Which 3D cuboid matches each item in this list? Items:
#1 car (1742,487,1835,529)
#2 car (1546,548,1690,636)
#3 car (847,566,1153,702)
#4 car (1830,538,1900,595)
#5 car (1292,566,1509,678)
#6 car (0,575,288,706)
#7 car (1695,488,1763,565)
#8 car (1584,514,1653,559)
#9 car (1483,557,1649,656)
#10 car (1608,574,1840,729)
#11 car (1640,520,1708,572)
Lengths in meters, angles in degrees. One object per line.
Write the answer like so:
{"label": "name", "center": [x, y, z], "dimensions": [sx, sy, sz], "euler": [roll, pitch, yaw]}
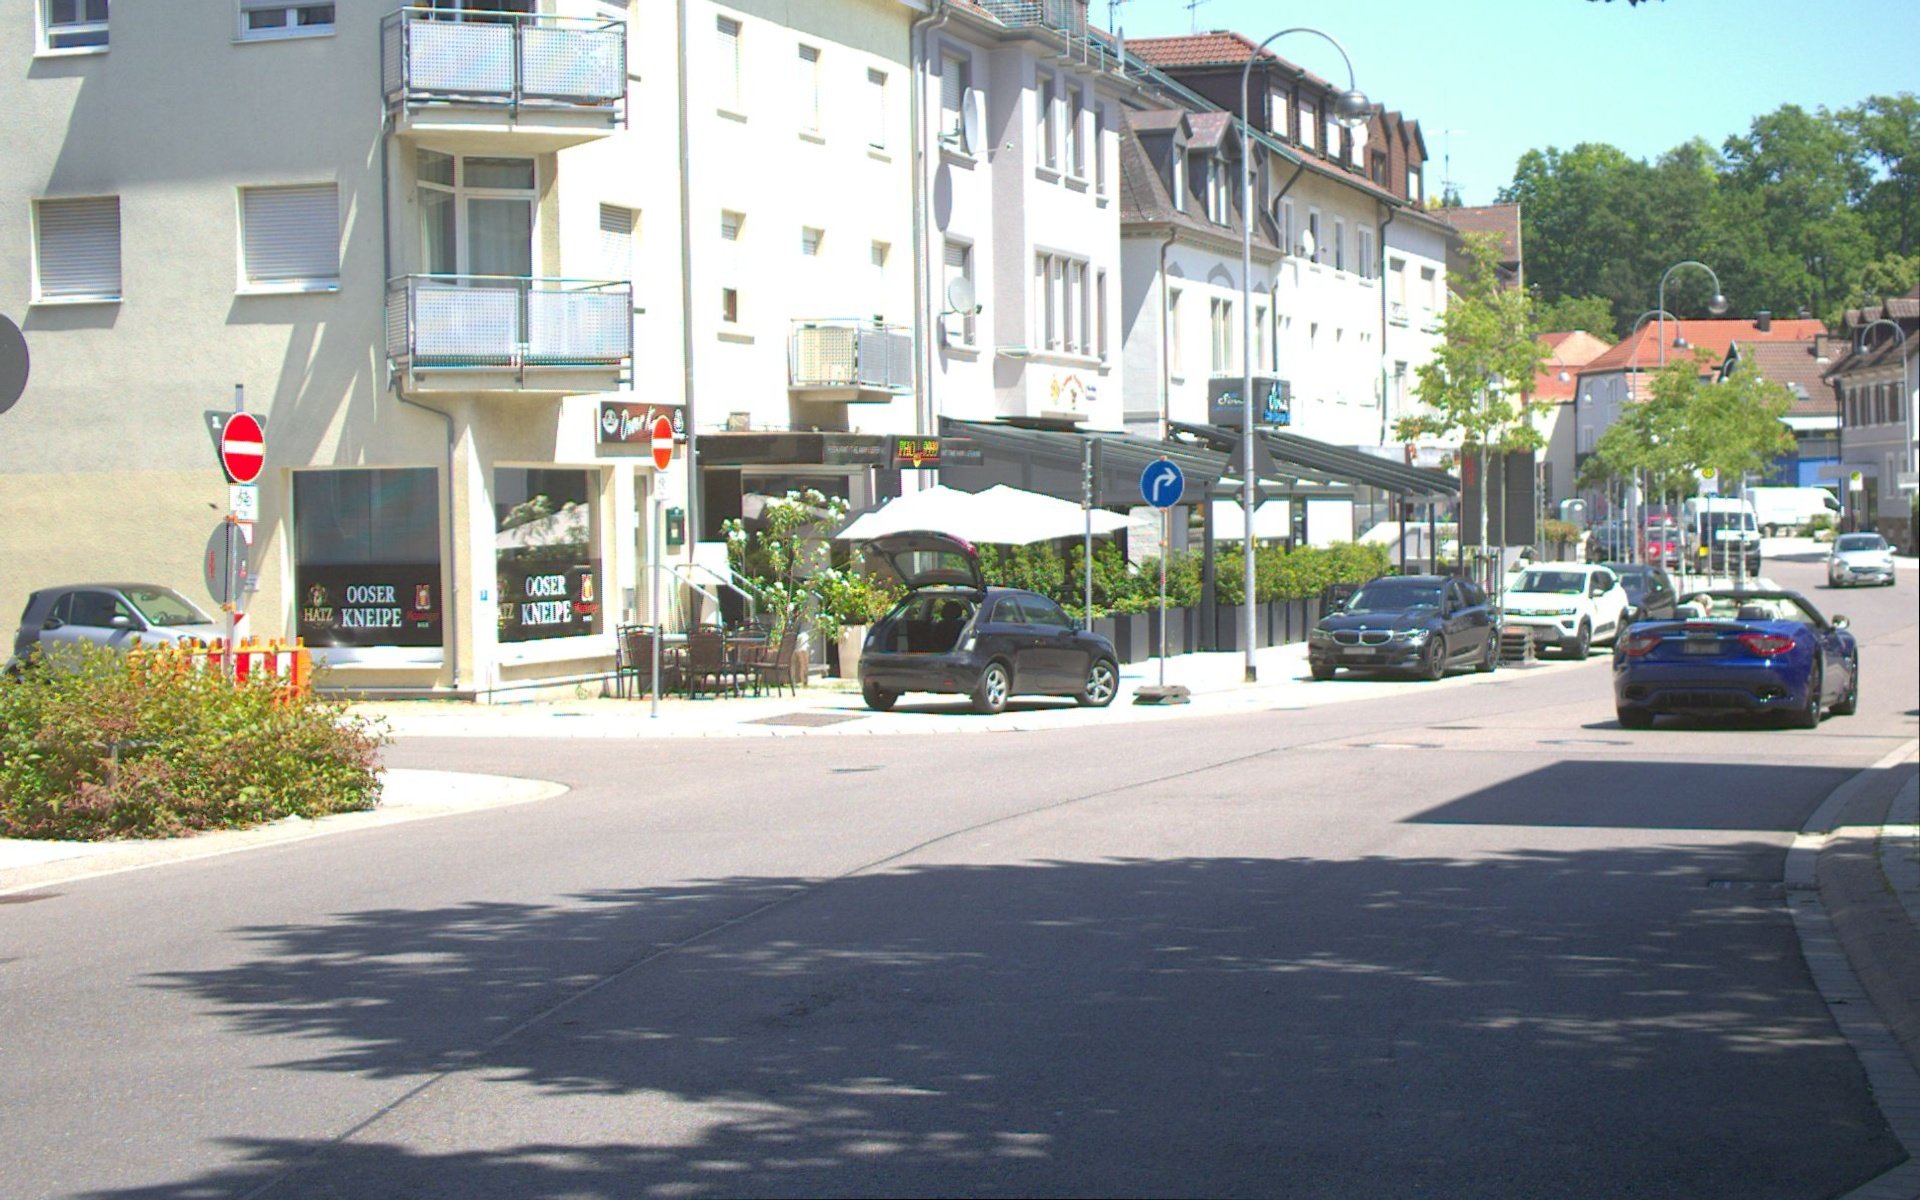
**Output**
{"label": "car", "center": [42.347, -4.700, 175.670], "dimensions": [4.257, 2.007, 2.000], "euler": [0, -1, -23]}
{"label": "car", "center": [11.802, -0.160, 61.503], "dimensions": [1.672, 1.438, 4.005], "euler": [-1, 1, 24]}
{"label": "car", "center": [0.527, 0.358, 40.272], "dimensions": [1.715, 1.455, 4.122], "euler": [2, 1, 31]}
{"label": "car", "center": [25.380, -0.959, 96.358], "dimensions": [1.688, 1.453, 4.055], "euler": [-2, 1, 17]}
{"label": "car", "center": [6.408, 0.279, 49.593], "dimensions": [1.836, 1.424, 4.777], "euler": [1, 2, 23]}
{"label": "car", "center": [-9.872, 0.471, 40.820], "dimensions": [3.265, 1.453, 1.691], "euler": [-1, 1, 17]}
{"label": "car", "center": [24.732, -2.369, 110.701], "dimensions": [1.867, 2.392, 4.816], "euler": [-1, 1, 10]}
{"label": "car", "center": [25.335, -2.455, 132.379], "dimensions": [1.993, 1.686, 4.000], "euler": [0, 1, 1]}
{"label": "car", "center": [9.985, 0.076, 56.460], "dimensions": [1.647, 1.474, 3.935], "euler": [1, 2, 26]}
{"label": "car", "center": [7.666, 0.458, 34.211], "dimensions": [1.872, 1.337, 4.592], "euler": [1, 1, 17]}
{"label": "car", "center": [24.907, -1.879, 119.984], "dimensions": [1.994, 1.732, 3.999], "euler": [-1, 1, 8]}
